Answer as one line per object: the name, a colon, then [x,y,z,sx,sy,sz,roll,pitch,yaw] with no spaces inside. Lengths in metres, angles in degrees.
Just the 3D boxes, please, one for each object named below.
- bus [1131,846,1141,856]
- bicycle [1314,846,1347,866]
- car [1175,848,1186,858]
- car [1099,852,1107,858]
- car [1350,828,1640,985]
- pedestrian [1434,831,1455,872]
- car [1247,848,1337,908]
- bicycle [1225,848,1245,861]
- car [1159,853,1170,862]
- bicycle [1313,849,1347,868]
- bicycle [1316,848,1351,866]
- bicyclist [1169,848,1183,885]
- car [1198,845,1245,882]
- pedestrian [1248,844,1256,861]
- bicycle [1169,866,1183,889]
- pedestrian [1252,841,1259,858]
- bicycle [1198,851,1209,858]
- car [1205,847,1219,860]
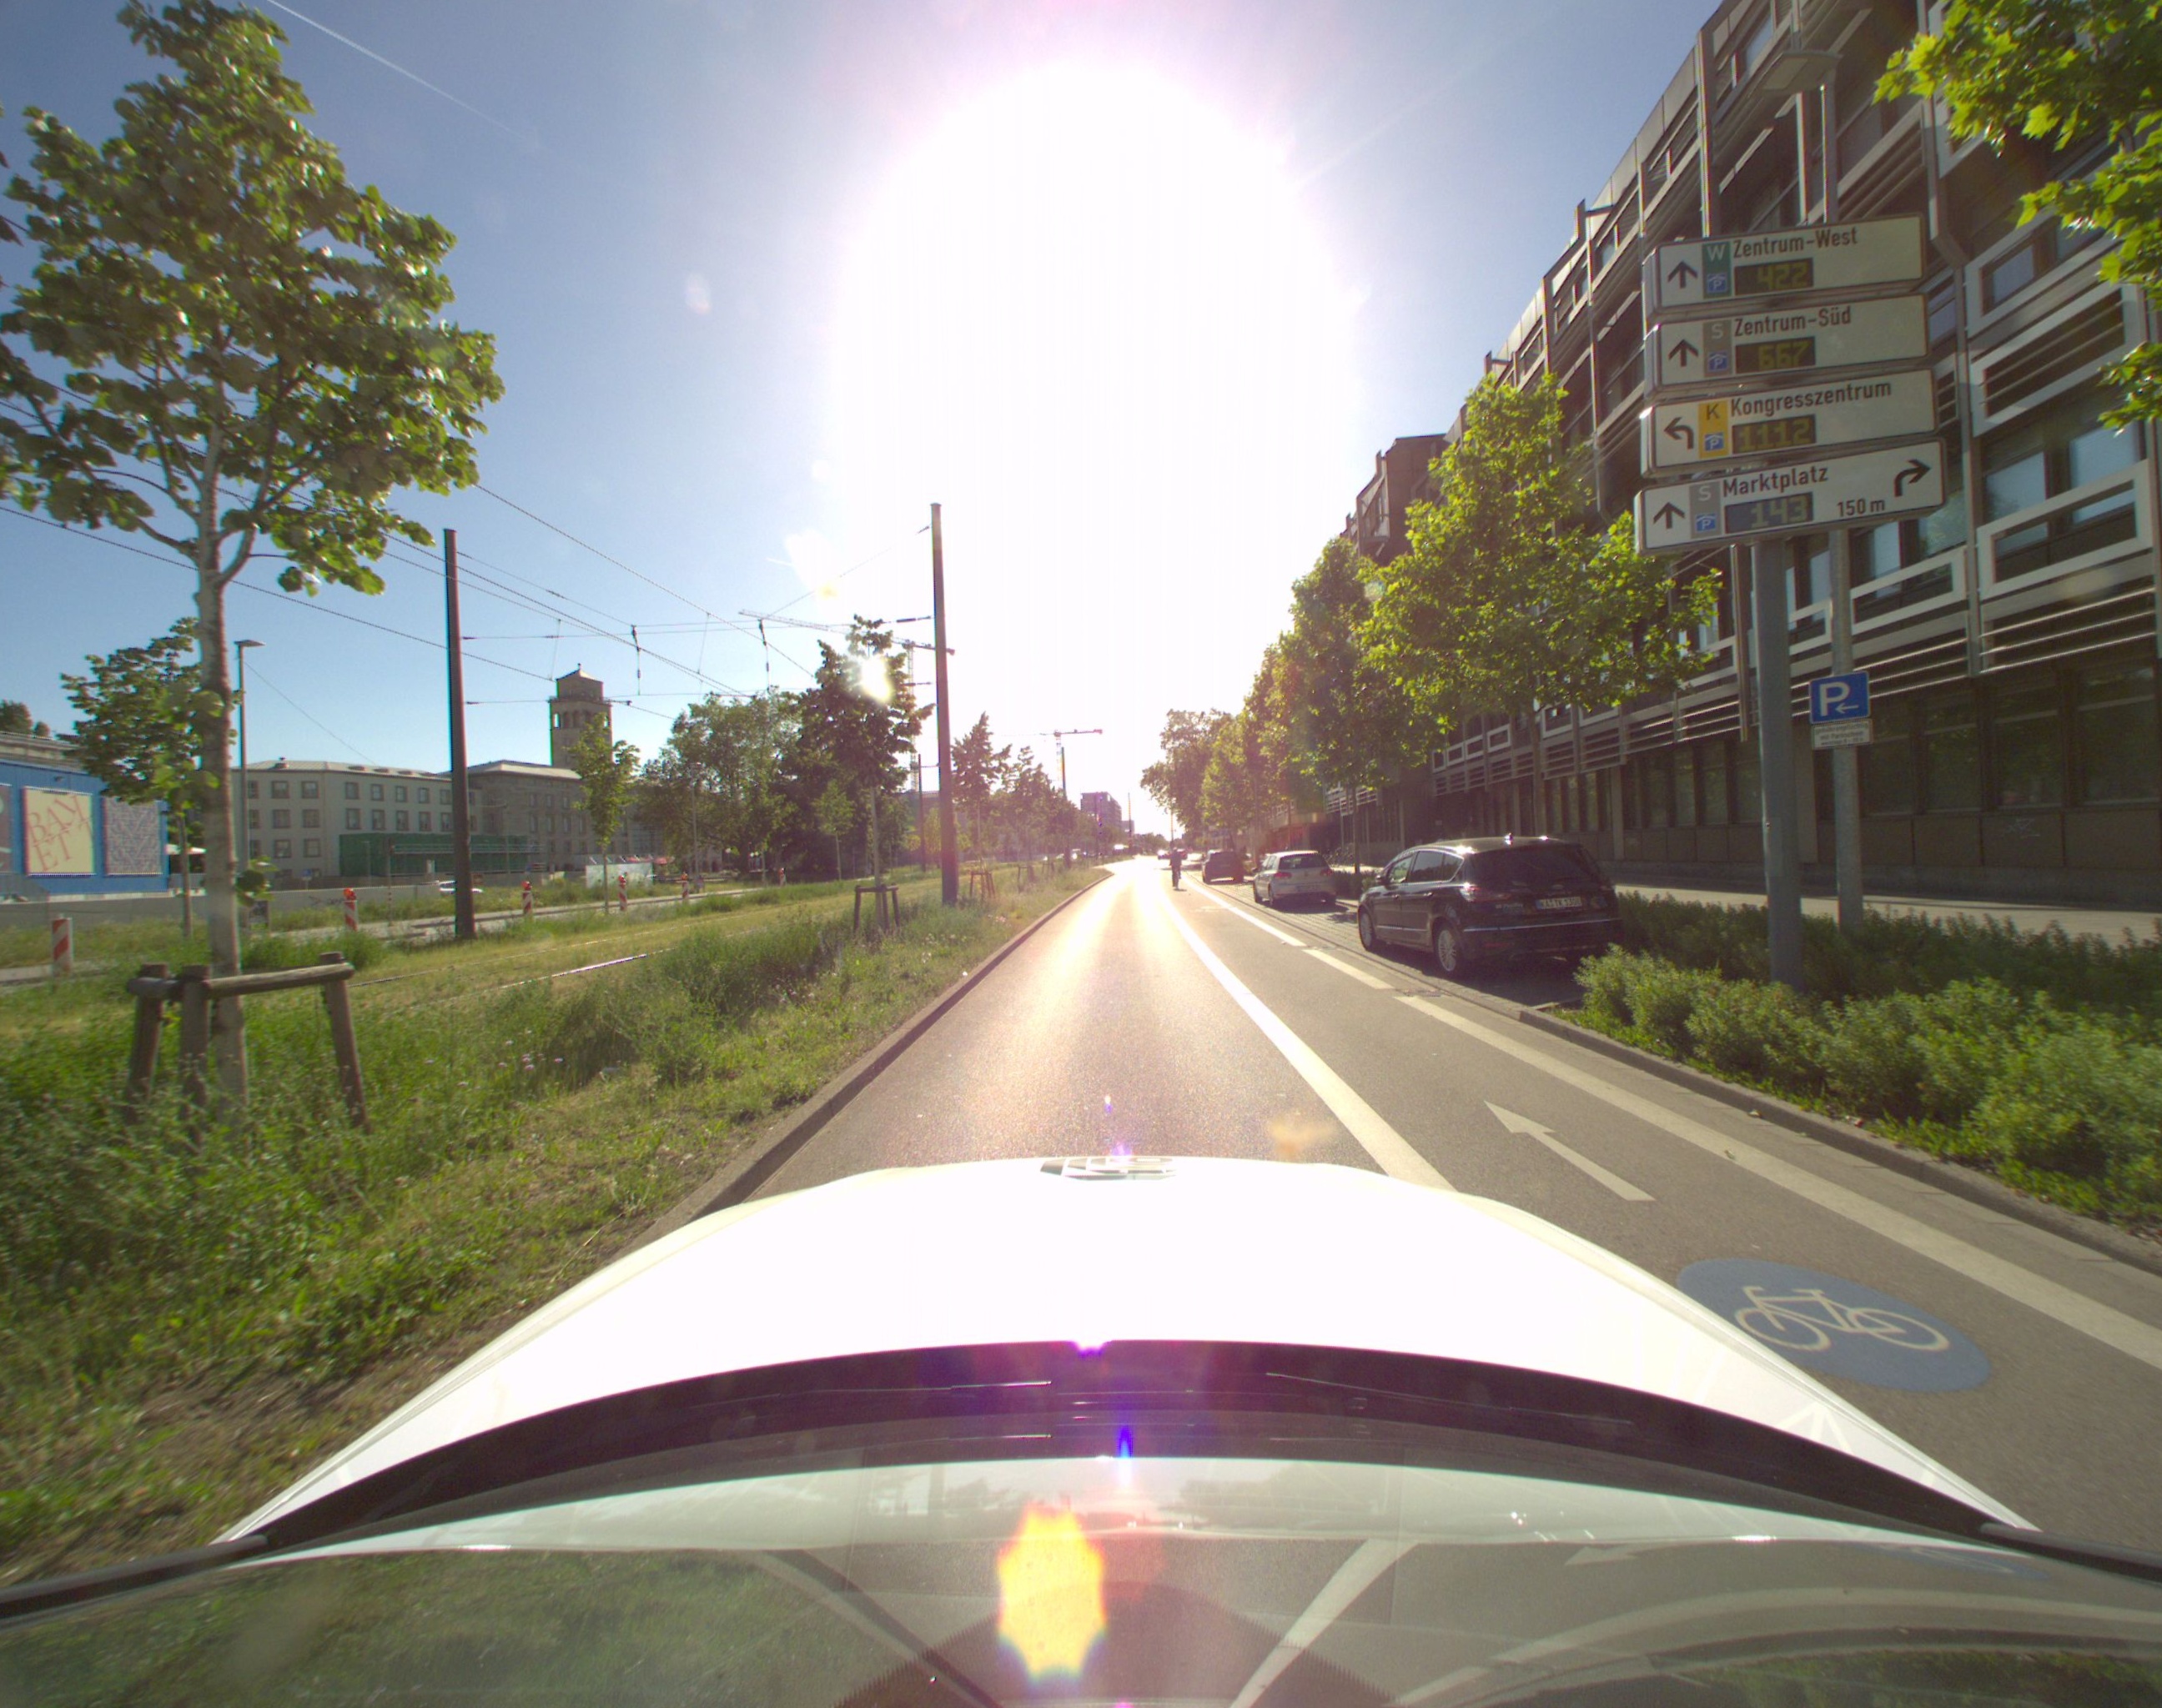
bus: [16.775,-0.855,248.477,2.615,2.959,9.913,0,-1,5]
bicycle: [15.265,0.119,49.836,1.847,1.097,0.428,-5,-1,8]
car: [16.791,-0.153,137.589,1.711,1.618,4.197,-2,0,9]
car: [4.625,0.162,174.275,1.369,1.178,3.227,0,-1,7]
car: [5.296,0.572,11.193,1.741,1.659,4.471,-2,0,1]
pedestrian: [15.177,-0.106,33.981,0.508,1.622,0.675,-5,0,7]
car: [5.923,0.620,23.295,1.611,1.465,4.158,-4,0,3]
bicycle: [16.328,0.070,86.485,1.928,1.236,0.580,-5,0,4]
car: [14.569,0.635,141.724,1.902,1.486,4.017,-2,0,7]
bicycle: [14.808,0.283,48.459,1.847,1.011,0.428,-5,-1,8]
bicycle: [14.637,0.167,47.164,1.847,0.939,0.428,-5,-1,8]
bicyclist: [4.185,0.547,35.931,0.510,1.601,0.537,-2,0,3]
car: [7.139,0.462,41.752,1.841,1.657,4.855,-4,0,5]
pedestrian: [14.712,-0.131,70.053,0.508,1.474,0.738,-4,0,7]
bicycle: [4.185,1.026,35.983,0.495,0.906,2.198,-1,0,3]
pedestrian: [18.788,-0.484,87.801,0.508,1.700,0.775,-4,0,7]
bicycle: [20.596,0.095,137.054,1.686,0.957,0.479,-4,0,3]
car: [18.630,-0.071,115.943,1.694,1.790,4.201,-4,0,8]
